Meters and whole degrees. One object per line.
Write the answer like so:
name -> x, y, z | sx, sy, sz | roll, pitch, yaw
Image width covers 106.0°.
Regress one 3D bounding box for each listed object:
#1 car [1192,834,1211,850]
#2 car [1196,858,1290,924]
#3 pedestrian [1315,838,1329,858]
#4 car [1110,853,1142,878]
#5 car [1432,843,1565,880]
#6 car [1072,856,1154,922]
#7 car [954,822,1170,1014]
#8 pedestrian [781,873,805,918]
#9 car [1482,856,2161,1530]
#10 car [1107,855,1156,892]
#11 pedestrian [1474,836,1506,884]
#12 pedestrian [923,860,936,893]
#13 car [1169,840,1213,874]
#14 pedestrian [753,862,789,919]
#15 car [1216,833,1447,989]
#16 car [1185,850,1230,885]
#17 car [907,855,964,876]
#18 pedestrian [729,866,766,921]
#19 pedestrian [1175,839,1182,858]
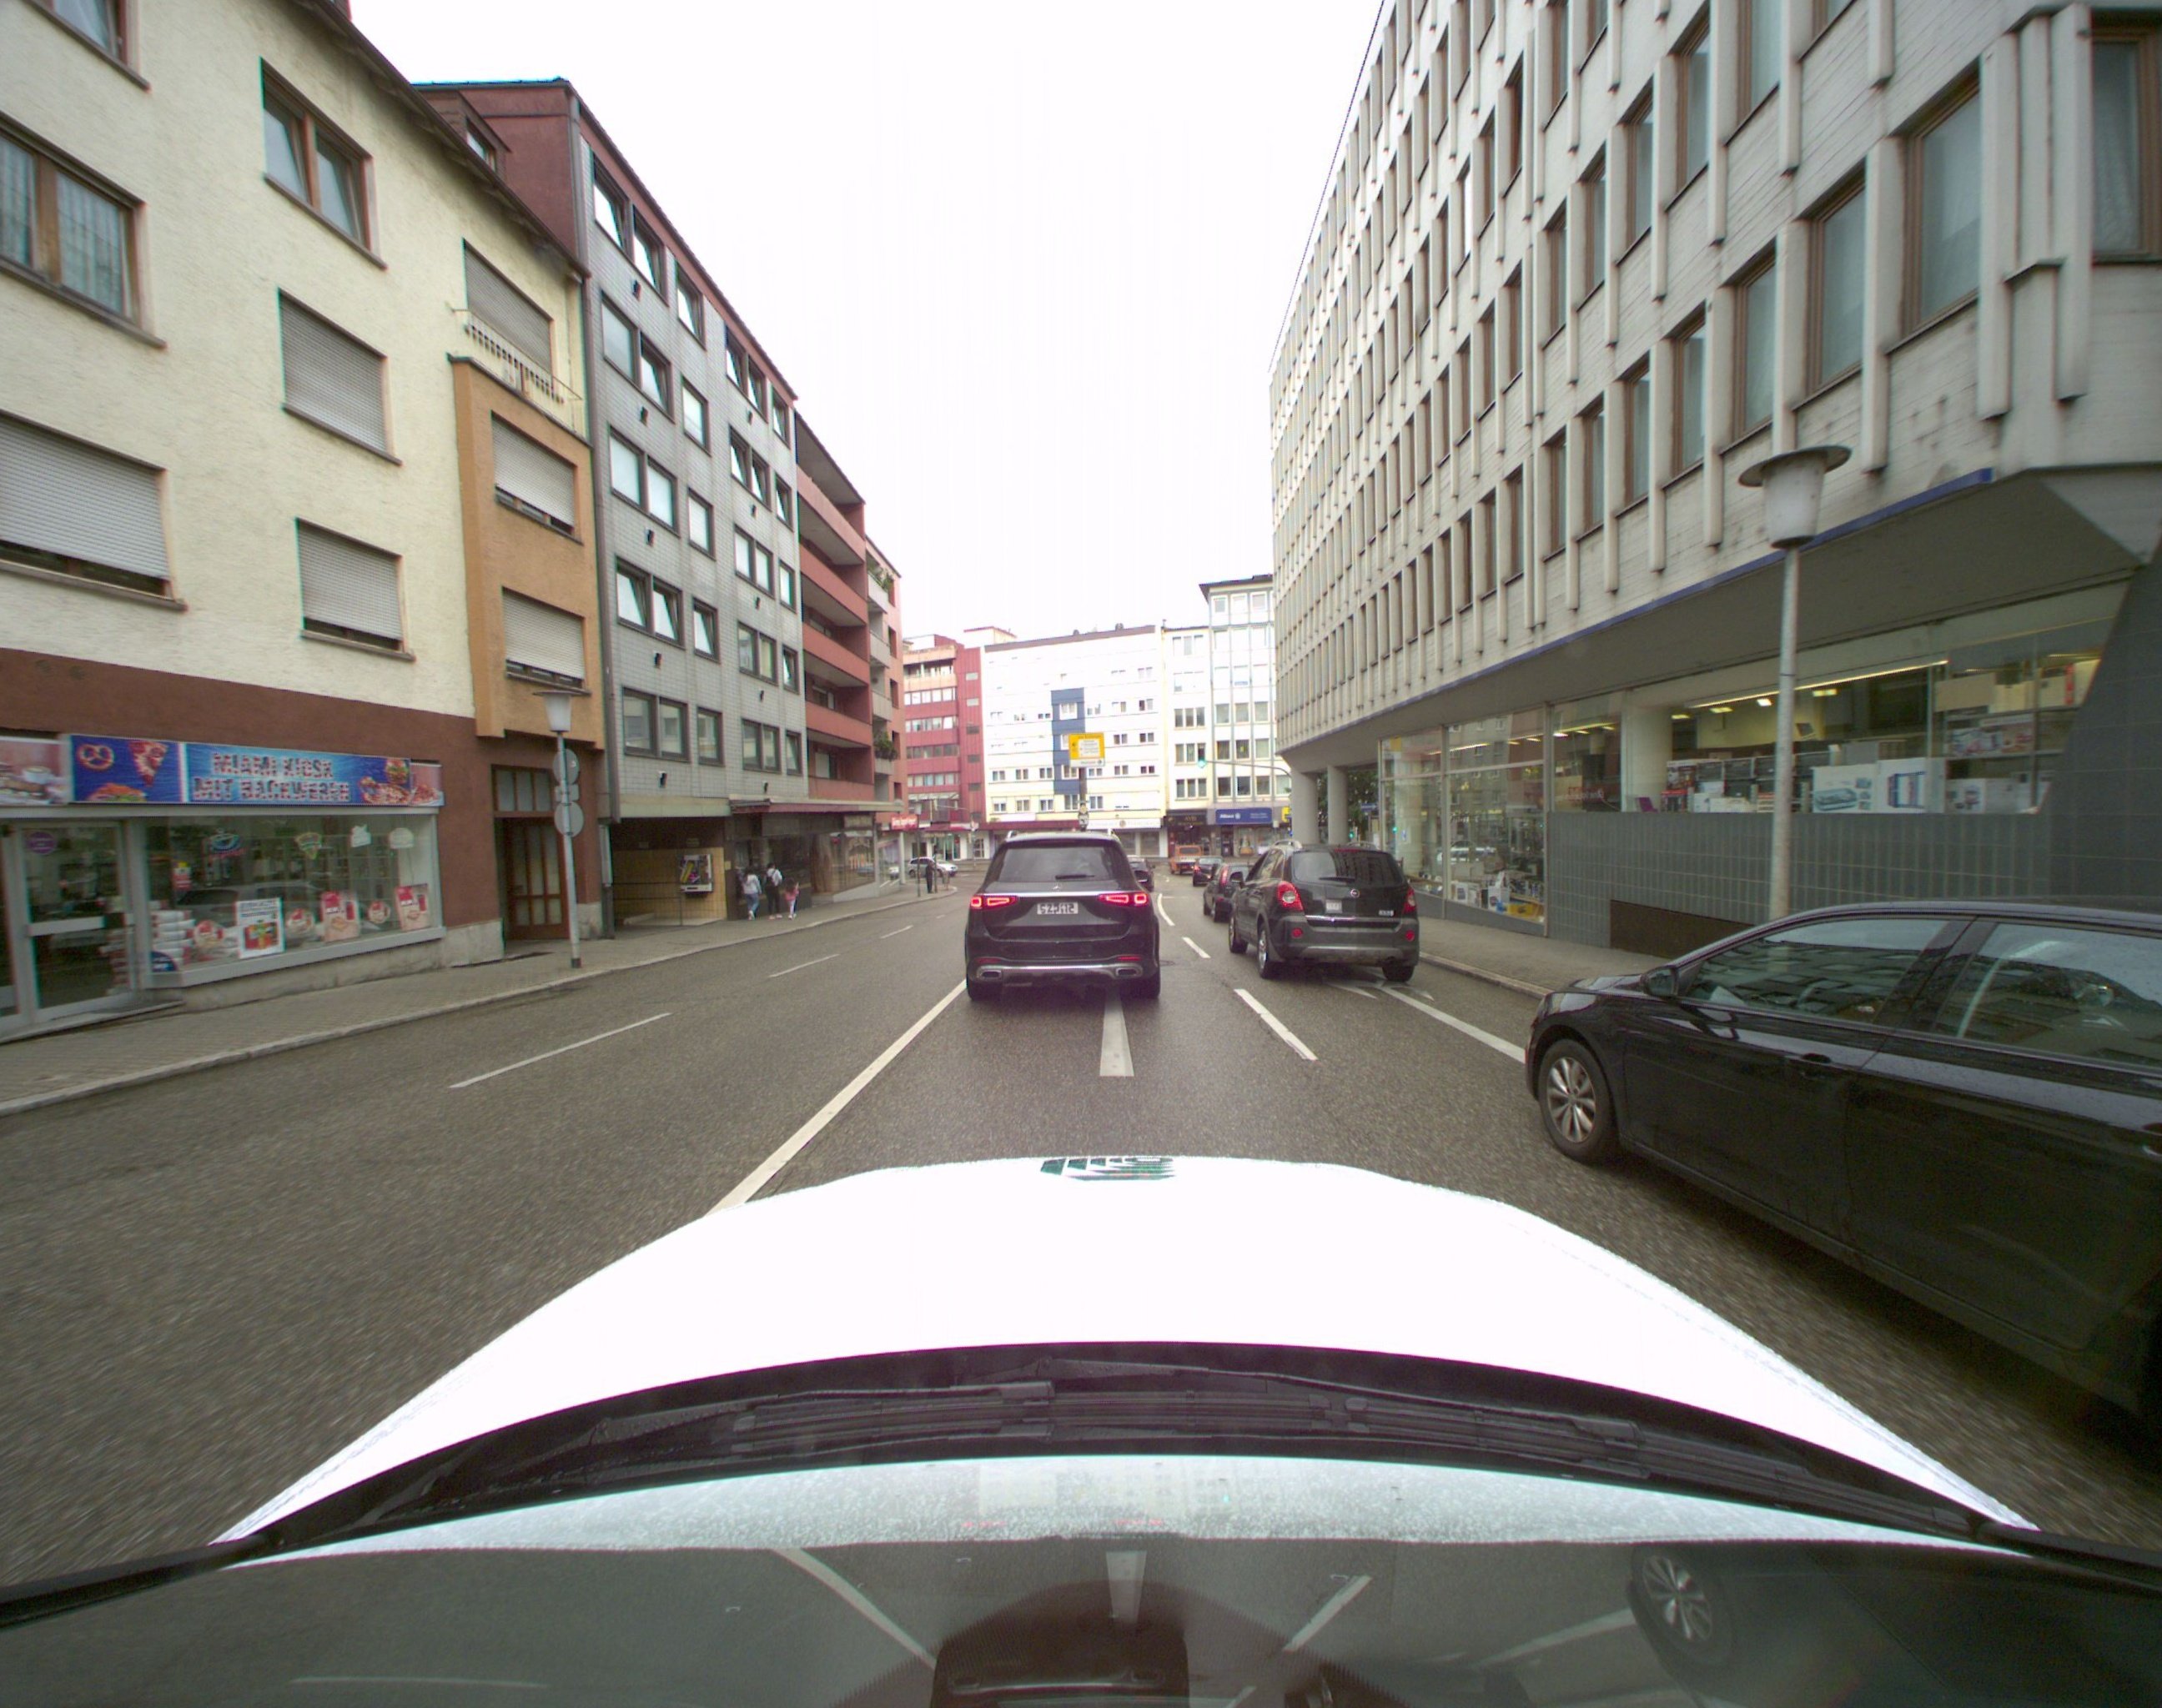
car -> 13.101, -1.272, 88.324 | 1.785, 1.670, 4.012 | -2, 0, 11
car -> 3.951, 0.844, 20.437 | 1.759, 1.397, 4.004 | 2, 0, 4
pedestrian -> 21.466, -0.566, 72.555 | 1.023, 1.688, 0.833 | -2, 6, 10
car -> 2.837, 0.771, 51.812 | 1.917, 1.515, 4.664 | 1, -1, 2
car -> 18.131, 0.357, 35.496 | 4.790, 1.494, 1.868 | -2, 0, 43
car -> 0.759, 0.806, 20.856 | 1.867, 1.495, 4.400 | 0, 0, 0
car -> -0.159, 0.598, 10.015 | 2.032, 1.799, 4.663 | 0, 0, 0
pedestrian -> -8.688, 1.250, 24.580 | 0.533, 1.323, 0.722 | 1, 0, -7
car -> 3.259, 0.777, 2.914 | 1.683, 1.477, 4.000 | 2, 0, 0
car -> 2.181, 0.811, 36.152 | 1.986, 1.486, 4.239 | -2, 0, 2
pedestrian -> 16.067, 0.254, 32.014 | 0.720, 1.818, 0.828 | -3, -1, -4
pedestrian -> -8.155, 1.206, 43.816 | 0.552, 1.697, 0.623 | -1, 0, -2
car -> 7.450, 0.216, 55.747 | 2.235, 2.228, 5.427 | 0, 0, 0
pedestrian -> -9.376, 1.079, 24.641 | 0.826, 1.689, 0.722 | 1, -1, -7
car -> 3.186, 0.639, 11.380 | 1.891, 1.695, 4.506 | 2, 0, 1
car -> 6.210, 0.656, 40.426 | 1.815, 1.658, 4.499 | 0, -1, 4
car -> -11.385, 0.859, 63.680 | 4.124, 1.592, 1.751 | 0, 1, 25
pedestrian -> -9.754, 1.140, 23.849 | 0.826, 1.561, 0.722 | 1, 0, -7
pedestrian -> 9.202, -0.531, 76.847 | 0.561, 1.688, 0.758 | -2, 6, 8
